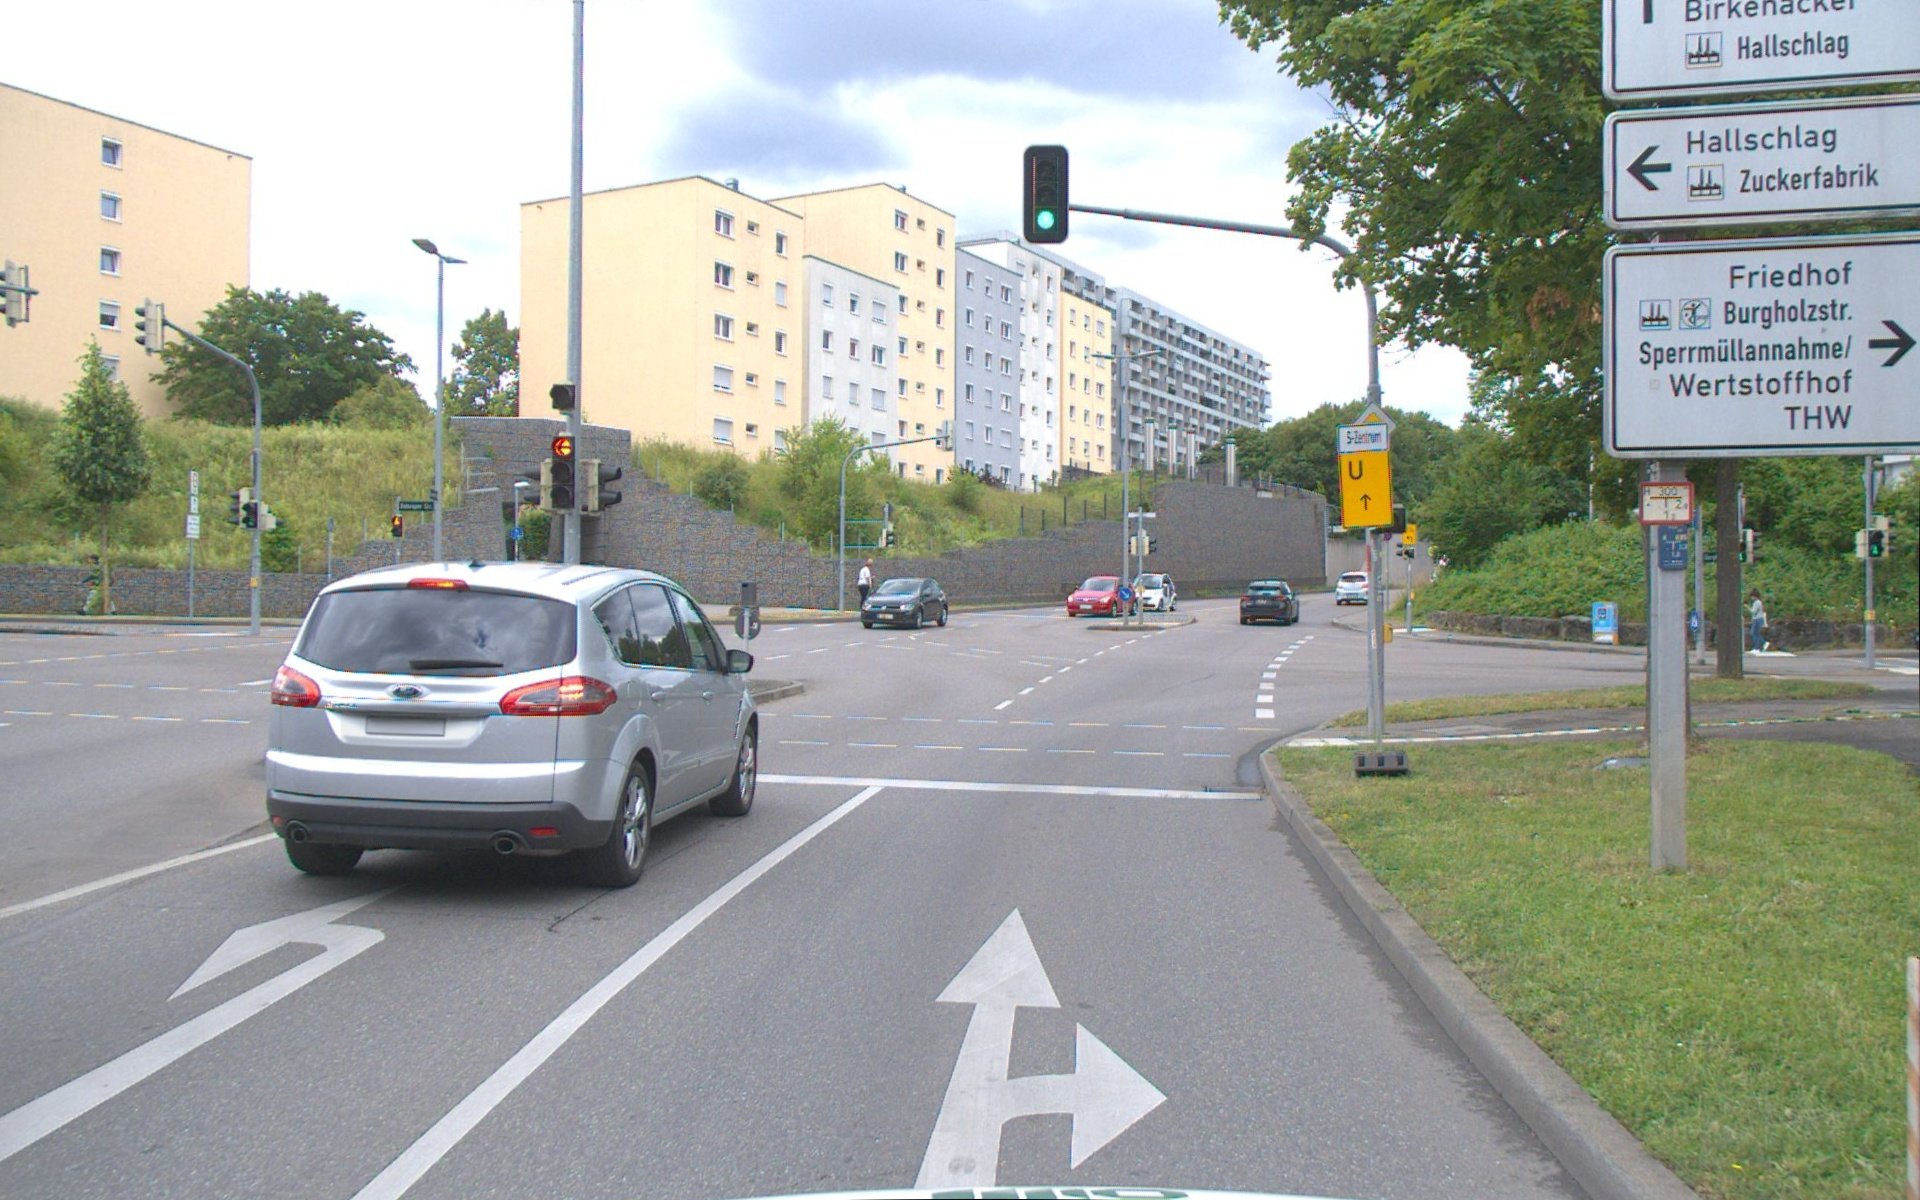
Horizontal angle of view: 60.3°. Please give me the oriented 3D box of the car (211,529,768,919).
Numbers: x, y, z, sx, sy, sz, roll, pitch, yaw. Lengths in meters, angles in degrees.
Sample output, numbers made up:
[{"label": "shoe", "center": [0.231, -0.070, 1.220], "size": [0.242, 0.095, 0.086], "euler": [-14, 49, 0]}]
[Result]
[{"label": "car", "center": [-2.408, 0.576, 9.567], "size": [1.791, 1.736, 3.871], "euler": [2, 0, 5]}]

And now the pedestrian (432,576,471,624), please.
[{"label": "pedestrian", "center": [-13.766, -0.001, 44.806], "size": [0.895, 1.245, 0.726], "euler": [4, 0, -16]}]

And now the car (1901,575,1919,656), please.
[{"label": "car", "center": [25.054, 0.433, 39.095], "size": [4.407, 1.943, 2.001], "euler": [2, 0, 7]}]

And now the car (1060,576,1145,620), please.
[{"label": "car", "center": [5.356, -0.089, 61.697], "size": [1.805, 1.479, 3.997], "euler": [4, 2, 25]}]

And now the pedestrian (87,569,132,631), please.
[{"label": "pedestrian", "center": [-22.887, 0.000, 44.516], "size": [0.937, 1.641, 0.696], "euler": [1, 0, -17]}]

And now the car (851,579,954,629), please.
[{"label": "car", "center": [-1.650, 0.130, 49.046], "size": [1.816, 1.384, 4.002], "euler": [1, 0, 17]}]

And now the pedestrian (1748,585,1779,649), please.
[{"label": "pedestrian", "center": [21.155, 0.445, 43.563], "size": [0.612, 1.682, 0.494], "euler": [1, 0, 12]}]

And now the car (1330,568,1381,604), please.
[{"label": "car", "center": [18.507, -0.636, 77.351], "size": [1.952, 1.646, 4.001], "euler": [1, 0, 19]}]

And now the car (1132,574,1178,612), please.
[{"label": "car", "center": [7.987, -0.284, 67.780], "size": [1.137, 1.390, 2.504], "euler": [4, 0, 23]}]

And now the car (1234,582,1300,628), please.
[{"label": "car", "center": [10.644, 0.170, 57.174], "size": [1.860, 1.492, 4.002], "euler": [1, 0, 16]}]

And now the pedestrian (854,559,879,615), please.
[{"label": "pedestrian", "center": [-3.196, -0.452, 56.535], "size": [0.592, 1.895, 0.597], "euler": [1, 0, 21]}]
